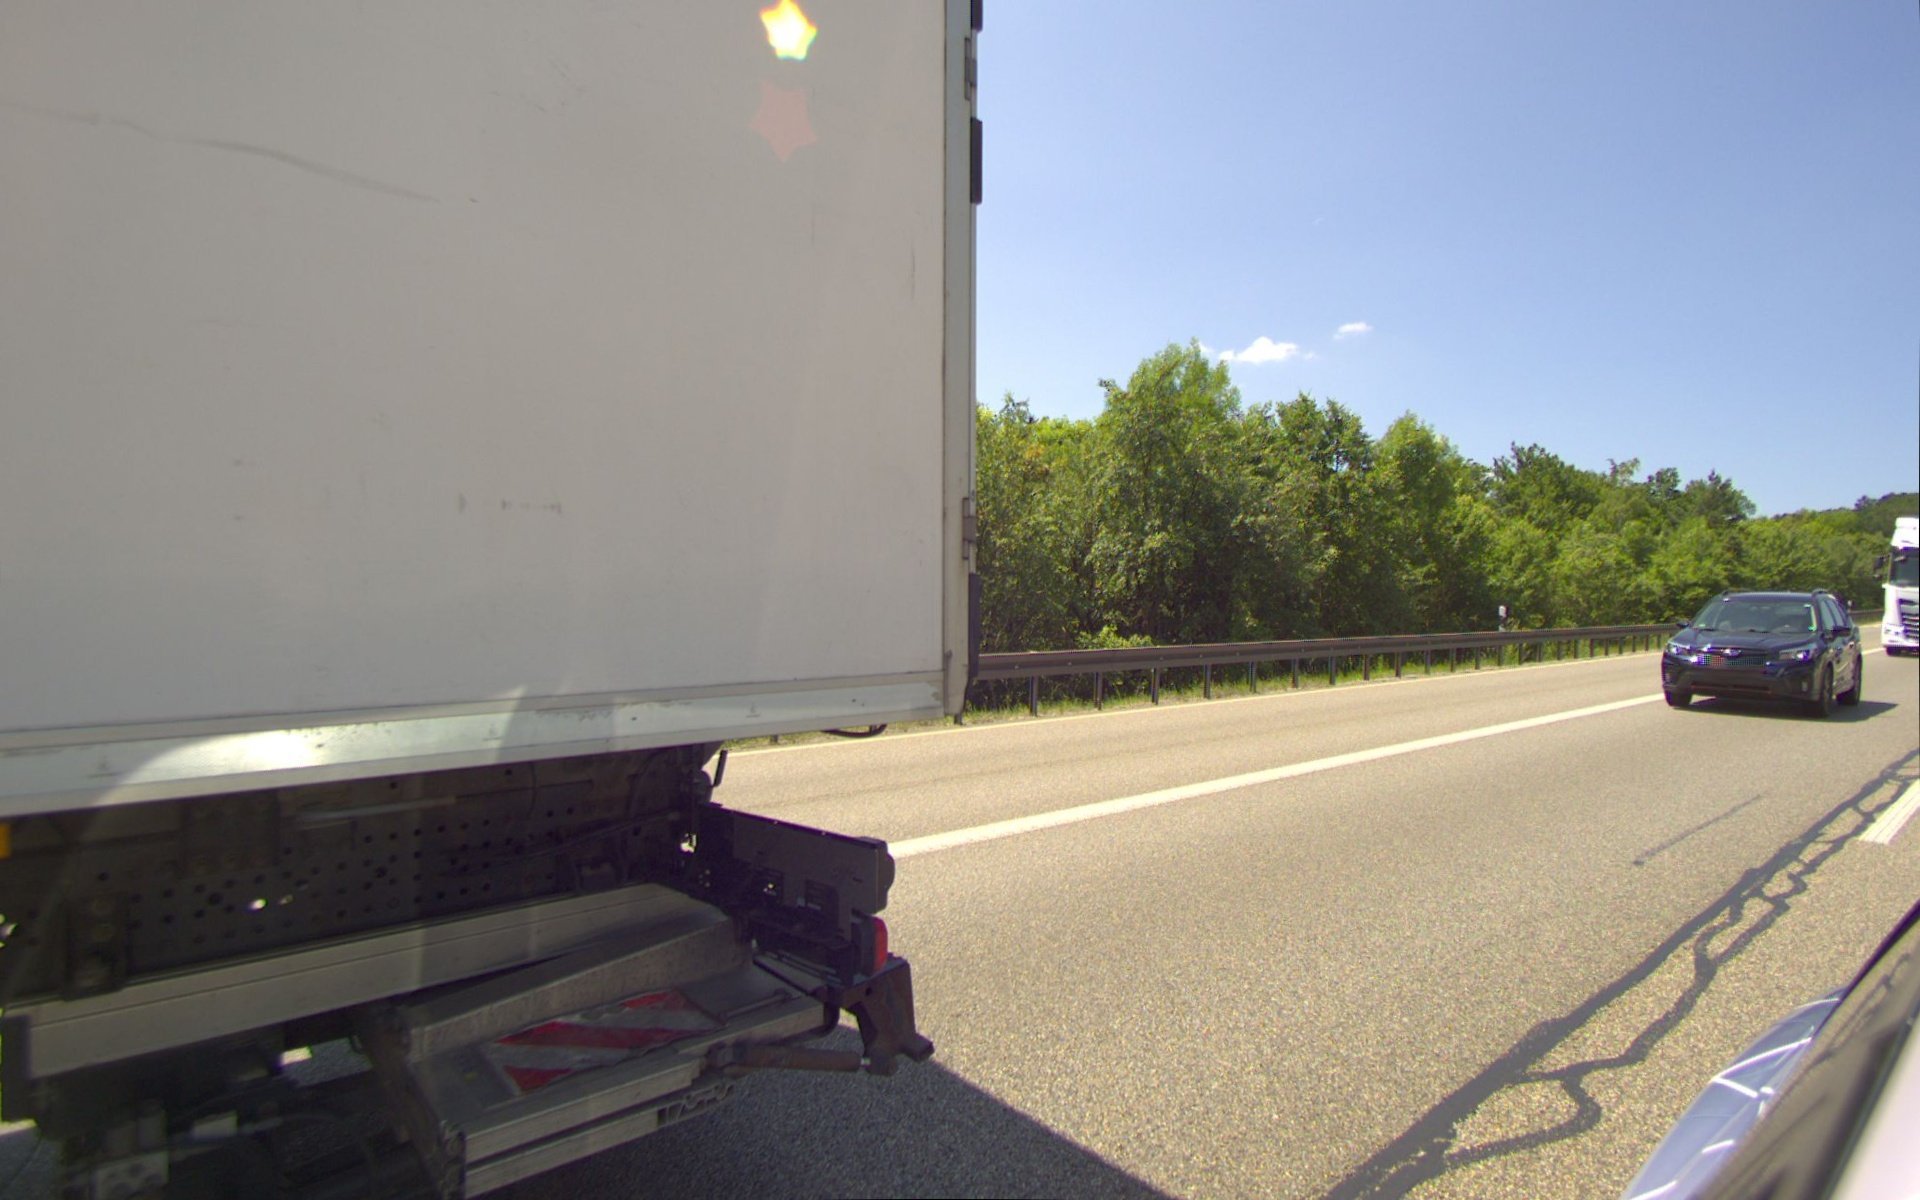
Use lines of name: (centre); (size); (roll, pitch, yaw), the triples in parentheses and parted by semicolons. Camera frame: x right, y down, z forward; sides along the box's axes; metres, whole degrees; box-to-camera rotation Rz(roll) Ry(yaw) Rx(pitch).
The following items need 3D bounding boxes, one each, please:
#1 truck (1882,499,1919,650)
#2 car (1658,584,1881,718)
truck: (33.211, -0.713, 32.980); (15.982, 4.221, 2.788); (0, 0, -41)
car: (11.921, 0.626, 14.812); (4.129, 1.688, 1.815); (0, 0, -41)
